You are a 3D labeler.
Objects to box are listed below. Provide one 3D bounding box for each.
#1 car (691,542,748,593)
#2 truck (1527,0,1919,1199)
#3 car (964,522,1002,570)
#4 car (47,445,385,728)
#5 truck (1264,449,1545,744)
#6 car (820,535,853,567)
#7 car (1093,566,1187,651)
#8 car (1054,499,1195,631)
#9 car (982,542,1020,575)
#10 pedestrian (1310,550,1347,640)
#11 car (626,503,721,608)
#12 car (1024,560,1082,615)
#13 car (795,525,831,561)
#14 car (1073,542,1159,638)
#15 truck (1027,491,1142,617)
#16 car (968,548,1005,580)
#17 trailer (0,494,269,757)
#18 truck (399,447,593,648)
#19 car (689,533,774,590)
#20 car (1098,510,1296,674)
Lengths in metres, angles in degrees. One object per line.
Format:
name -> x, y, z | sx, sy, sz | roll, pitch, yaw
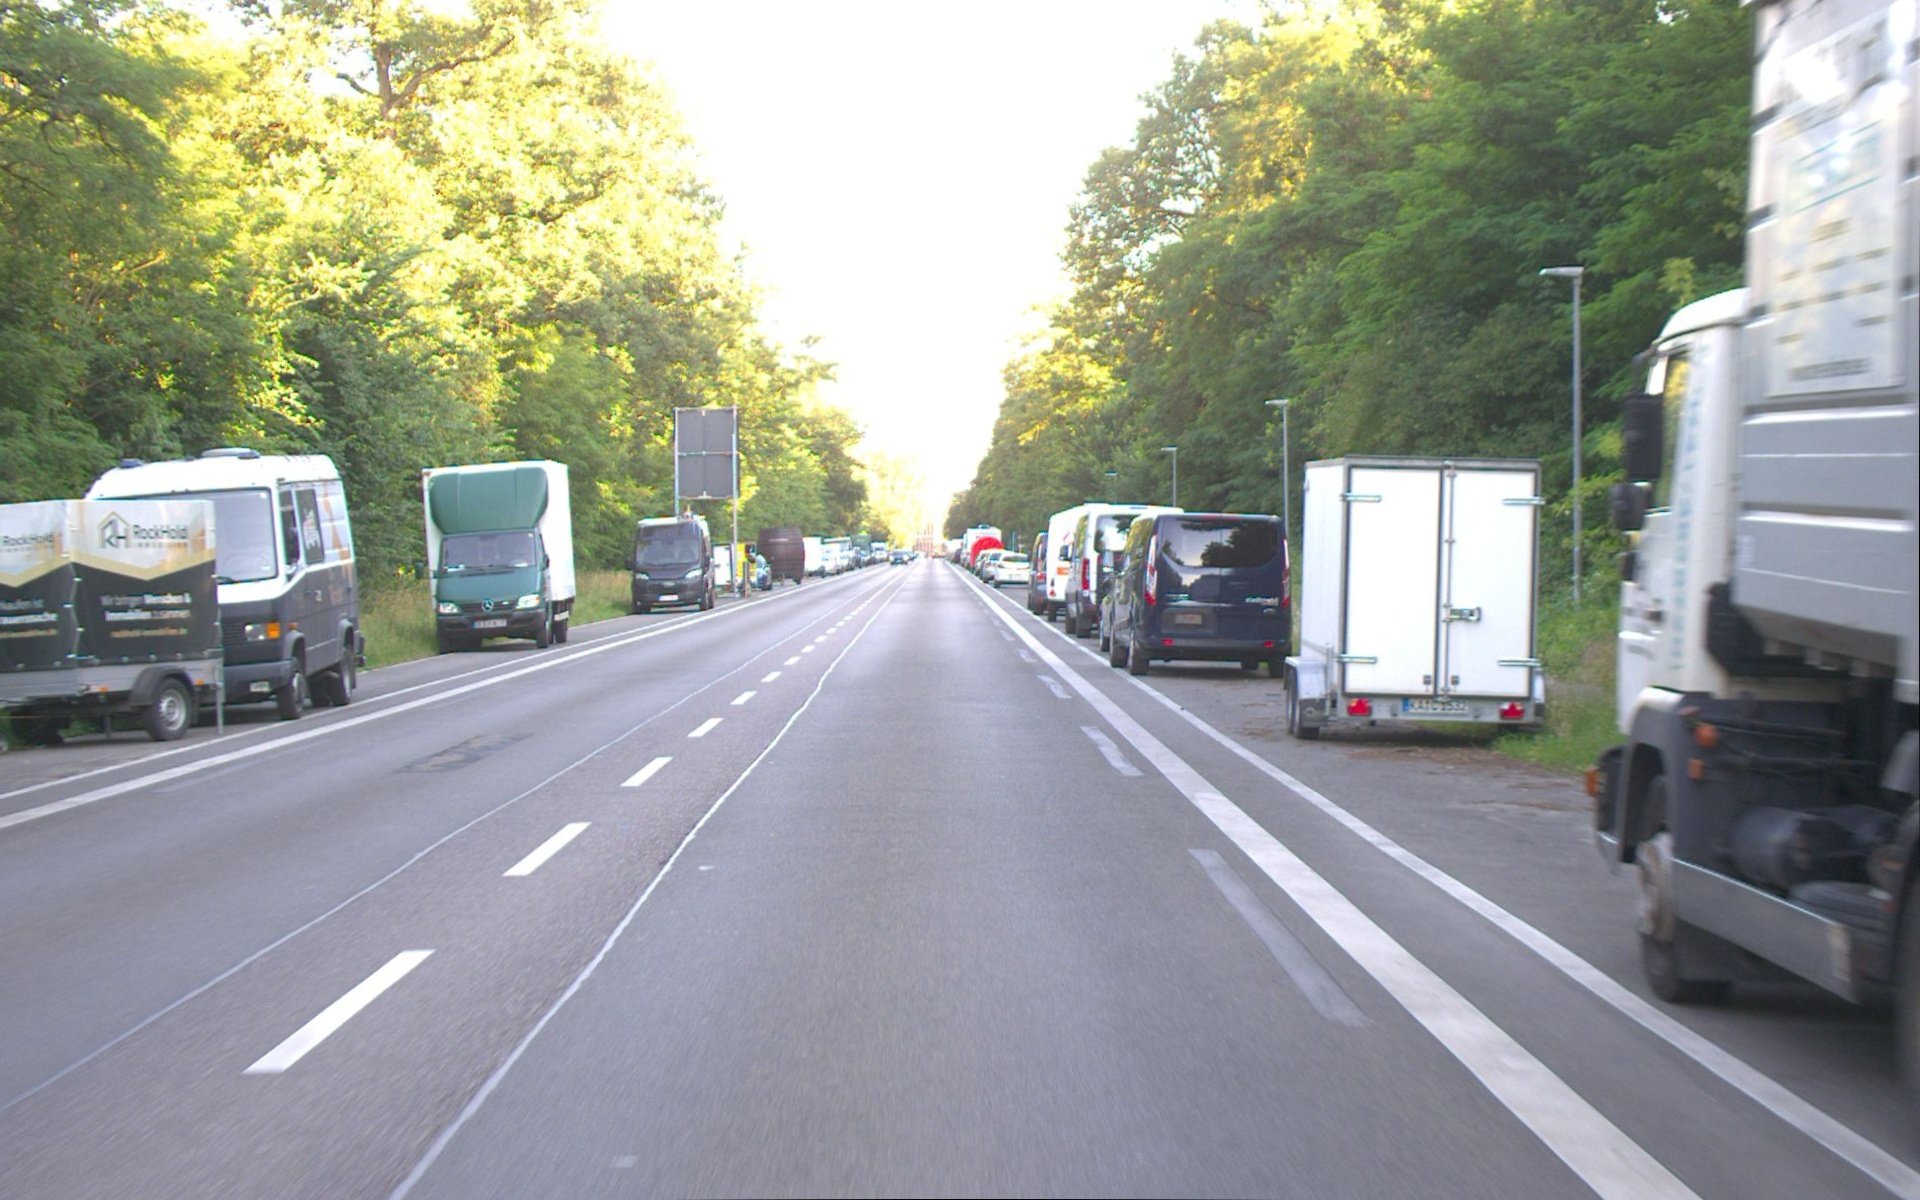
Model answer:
car -> -8.184, -1.124, 117.230 | 1.771, 1.666, 4.001 | 1, 1, -2
truck -> 3.411, -0.267, 9.454 | 2.589, 3.244, 7.220 | 0, 1, 1
car -> 1.493, -3.499, 222.538 | 2.314, 3.082, 5.640 | 1, 1, -1
car -> -7.588, -0.185, 35.725 | 2.249, 2.638, 5.722 | -2, 1, -1
truck -> 3.646, -0.050, 28.881 | 1.885, 2.276, 4.300 | 0, 1, 1
car -> -8.097, -3.219, 225.680 | 1.993, 2.007, 4.000 | -2, 1, 1
car -> 2.707, 0.112, 52.044 | 1.147, 1.247, 2.754 | 0, 1, -3
car -> 2.956, -0.646, 62.628 | 2.141, 2.306, 4.300 | 0, 1, -3
car -> 1.867, -1.906, 158.177 | 1.645, 1.481, 4.000 | 1, 1, -1
pedestrian -> 5.904, -0.077, 55.135 | 0.466, 1.412, 0.717 | -2, 0, -1
car -> -7.957, -1.251, 95.942 | 2.186, 2.779, 5.334 | -2, 1, -1
car -> 2.174, -0.307, 81.030 | 1.147, 1.247, 2.754 | 0, 1, -3
car -> -8.712, -3.373, 203.512 | 1.993, 2.007, 4.000 | -1, -1, -3
car -> 2.563, -0.176, 56.804 | 1.147, 1.541, 2.754 | 0, 1, -3
truck -> 2.694, -1.005, 75.402 | 2.141, 2.650, 4.300 | 0, 1, -3
car -> 1.079, -1.477, 140.601 | 1.427, 1.218, 3.412 | -3, 1, 0
trailer -> -8.014, 0.176, 30.200 | 1.965, 2.147, 3.926 | -1, 1, 21
truck -> -8.180, -0.944, 61.294 | 2.504, 3.317, 6.842 | -2, 1, -1
car -> -8.345, -1.407, 125.642 | 1.701, 2.007, 3.997 | 1, 1, 18
car -> 2.926, -0.121, 43.367 | 1.993, 1.948, 4.300 | 0, 1, -3
